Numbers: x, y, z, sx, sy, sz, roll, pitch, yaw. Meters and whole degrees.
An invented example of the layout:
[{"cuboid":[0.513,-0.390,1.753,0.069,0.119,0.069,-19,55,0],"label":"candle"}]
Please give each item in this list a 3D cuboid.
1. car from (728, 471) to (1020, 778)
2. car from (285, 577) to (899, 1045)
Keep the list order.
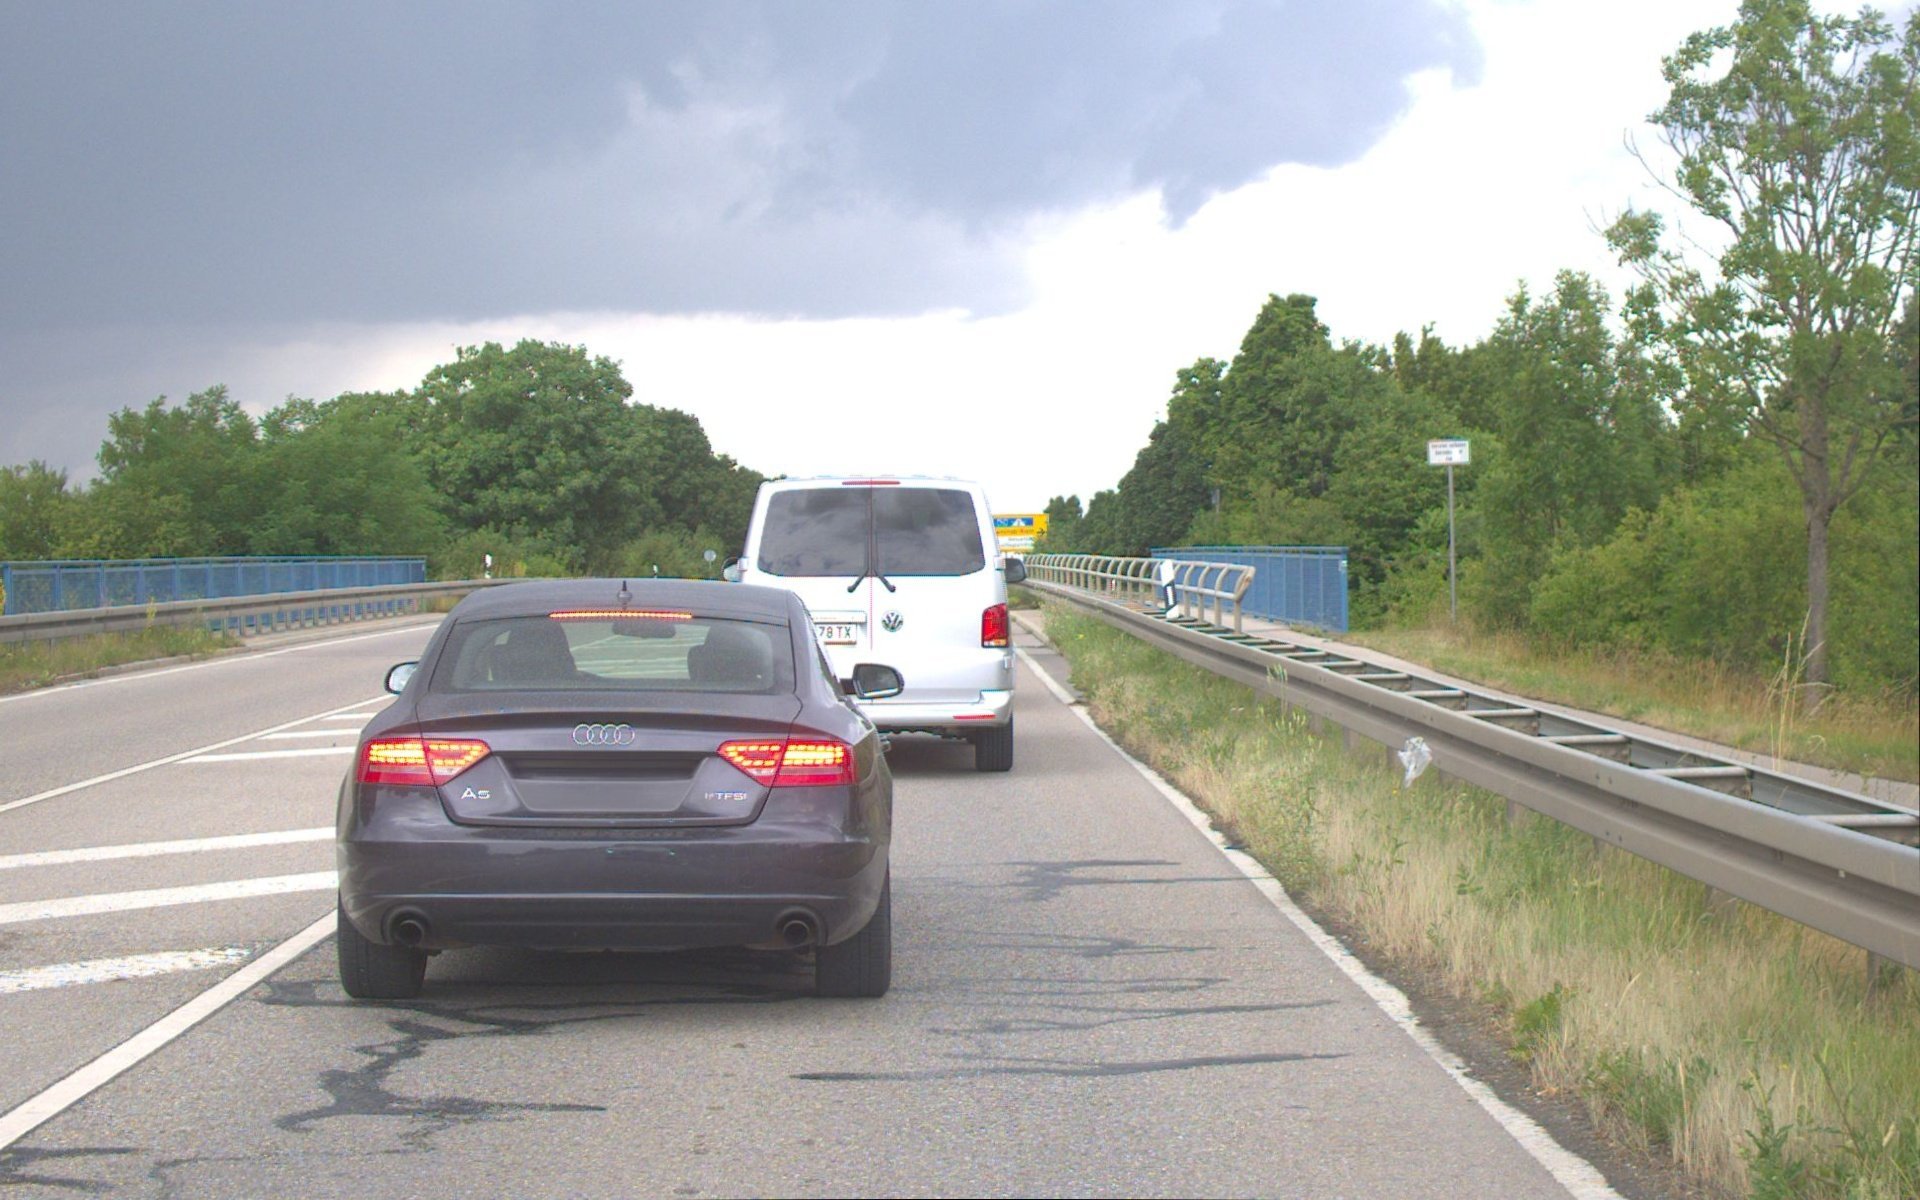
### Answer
[{"cuboid":[-0.569,0.131,23.800,1.828,1.929,4.000,-1,1,-1],"label":"car"},{"cuboid":[-1.153,0.627,12.478,1.821,1.376,4.072,-1,1,-1],"label":"car"}]
